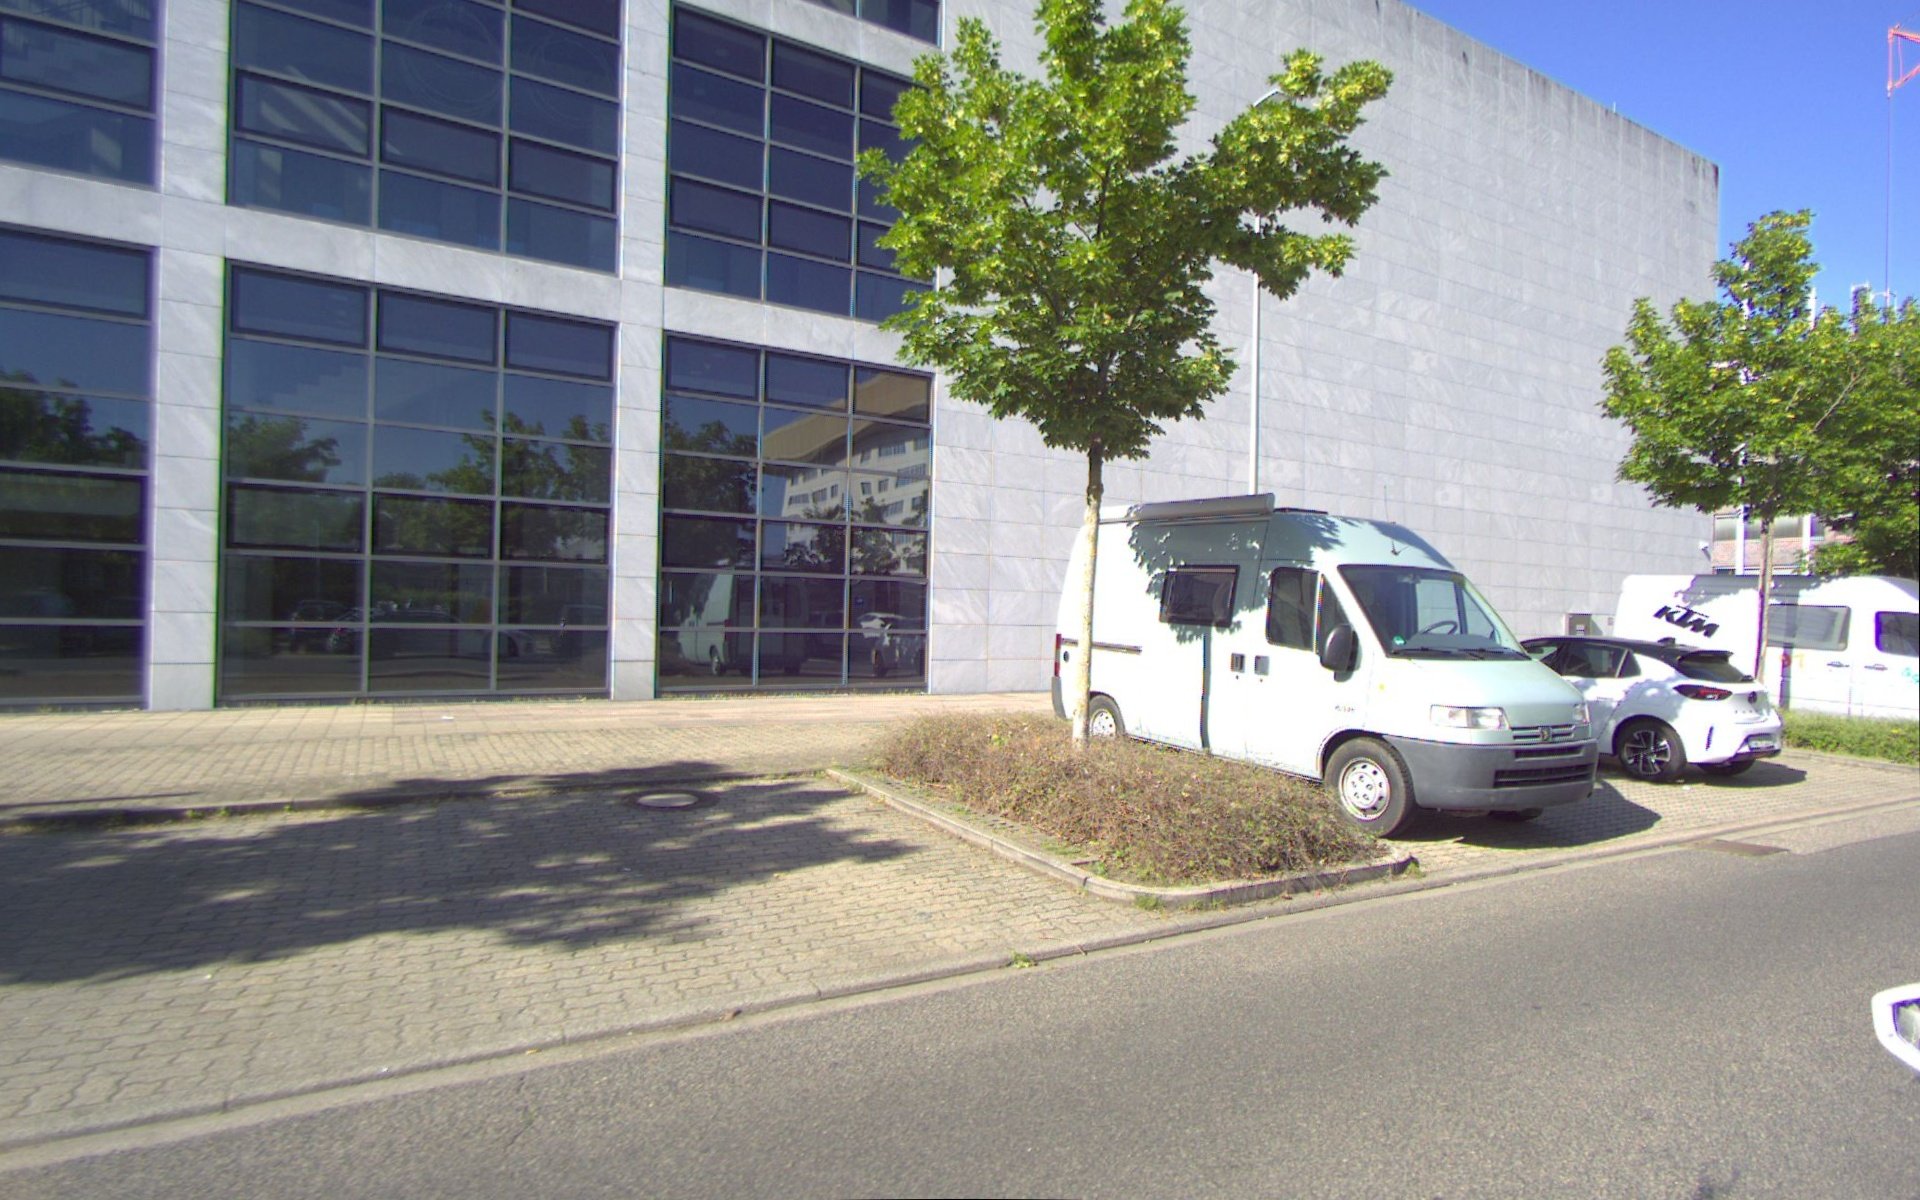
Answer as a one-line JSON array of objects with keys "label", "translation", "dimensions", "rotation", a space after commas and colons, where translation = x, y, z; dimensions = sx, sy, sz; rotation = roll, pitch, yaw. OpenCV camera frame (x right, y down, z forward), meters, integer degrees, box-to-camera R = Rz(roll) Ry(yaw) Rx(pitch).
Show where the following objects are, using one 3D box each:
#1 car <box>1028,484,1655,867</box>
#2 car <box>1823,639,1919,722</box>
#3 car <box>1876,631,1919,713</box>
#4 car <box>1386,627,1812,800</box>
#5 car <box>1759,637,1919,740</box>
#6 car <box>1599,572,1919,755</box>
[{"label": "car", "translation": [2.937, 0.437, 9.225], "dimensions": [2.097, 2.451, 5.226], "rotation": [2, 1, -28]}, {"label": "car", "translation": [19.410, 1.584, 19.252], "dimensions": [1.833, 1.537, 3.970], "rotation": [2, -1, -28]}, {"label": "car", "translation": [21.479, 1.588, 20.295], "dimensions": [1.804, 1.686, 3.973], "rotation": [2, 0, -26]}, {"label": "car", "translation": [7.266, 1.171, 11.843], "dimensions": [1.825, 1.491, 3.815], "rotation": [2, 1, -27]}, {"label": "car", "translation": [15.725, 1.468, 16.313], "dimensions": [1.763, 1.505, 3.917], "rotation": [2, 0, -28]}, {"label": "car", "translation": [13.034, 0.841, 15.072], "dimensions": [1.963, 2.442, 5.529], "rotation": [2, 1, -27]}]
